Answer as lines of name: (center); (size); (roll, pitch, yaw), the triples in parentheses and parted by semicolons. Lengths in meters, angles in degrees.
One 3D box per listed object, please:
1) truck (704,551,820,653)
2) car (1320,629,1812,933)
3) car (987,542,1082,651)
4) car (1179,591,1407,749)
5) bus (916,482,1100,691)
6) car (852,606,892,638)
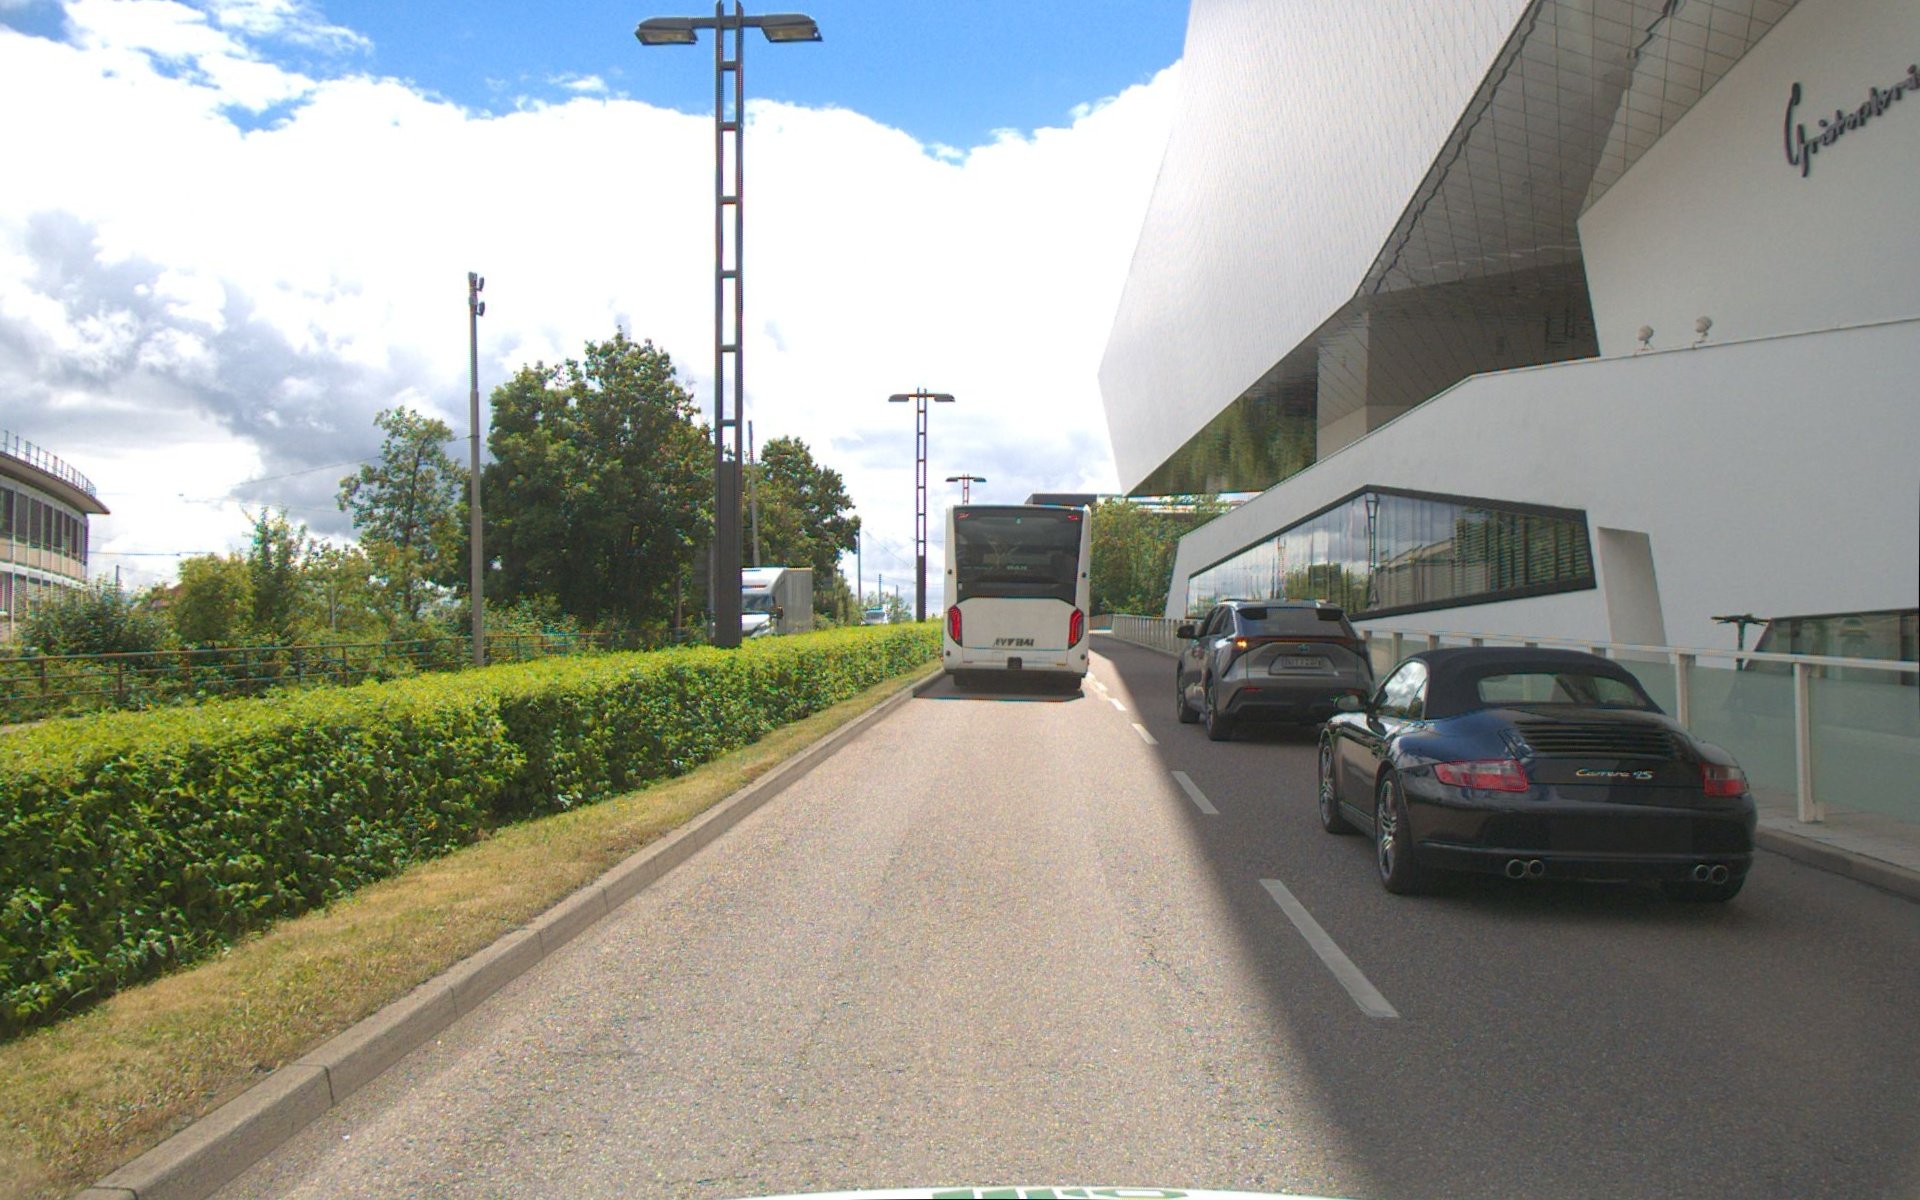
truck: (-6.751, 0.199, 57.607); (2.149, 3.013, 8.955); (1, -3, 5)
car: (3.289, 0.887, 9.815); (1.795, 1.348, 4.003); (0, 0, 6)
car: (2.747, 0.012, 63.046); (3.266, 3.566, 9.341); (1, -3, 1)
car: (3.877, 0.758, 19.951); (1.952, 1.665, 4.000); (1, 0, 0)
bus: (1.075, -0.164, 33.691); (3.008, 3.421, 12.226); (1, -1, 3)
car: (-5.470, 1.397, 103.112); (1.951, 1.743, 4.001); (1, -3, 5)
